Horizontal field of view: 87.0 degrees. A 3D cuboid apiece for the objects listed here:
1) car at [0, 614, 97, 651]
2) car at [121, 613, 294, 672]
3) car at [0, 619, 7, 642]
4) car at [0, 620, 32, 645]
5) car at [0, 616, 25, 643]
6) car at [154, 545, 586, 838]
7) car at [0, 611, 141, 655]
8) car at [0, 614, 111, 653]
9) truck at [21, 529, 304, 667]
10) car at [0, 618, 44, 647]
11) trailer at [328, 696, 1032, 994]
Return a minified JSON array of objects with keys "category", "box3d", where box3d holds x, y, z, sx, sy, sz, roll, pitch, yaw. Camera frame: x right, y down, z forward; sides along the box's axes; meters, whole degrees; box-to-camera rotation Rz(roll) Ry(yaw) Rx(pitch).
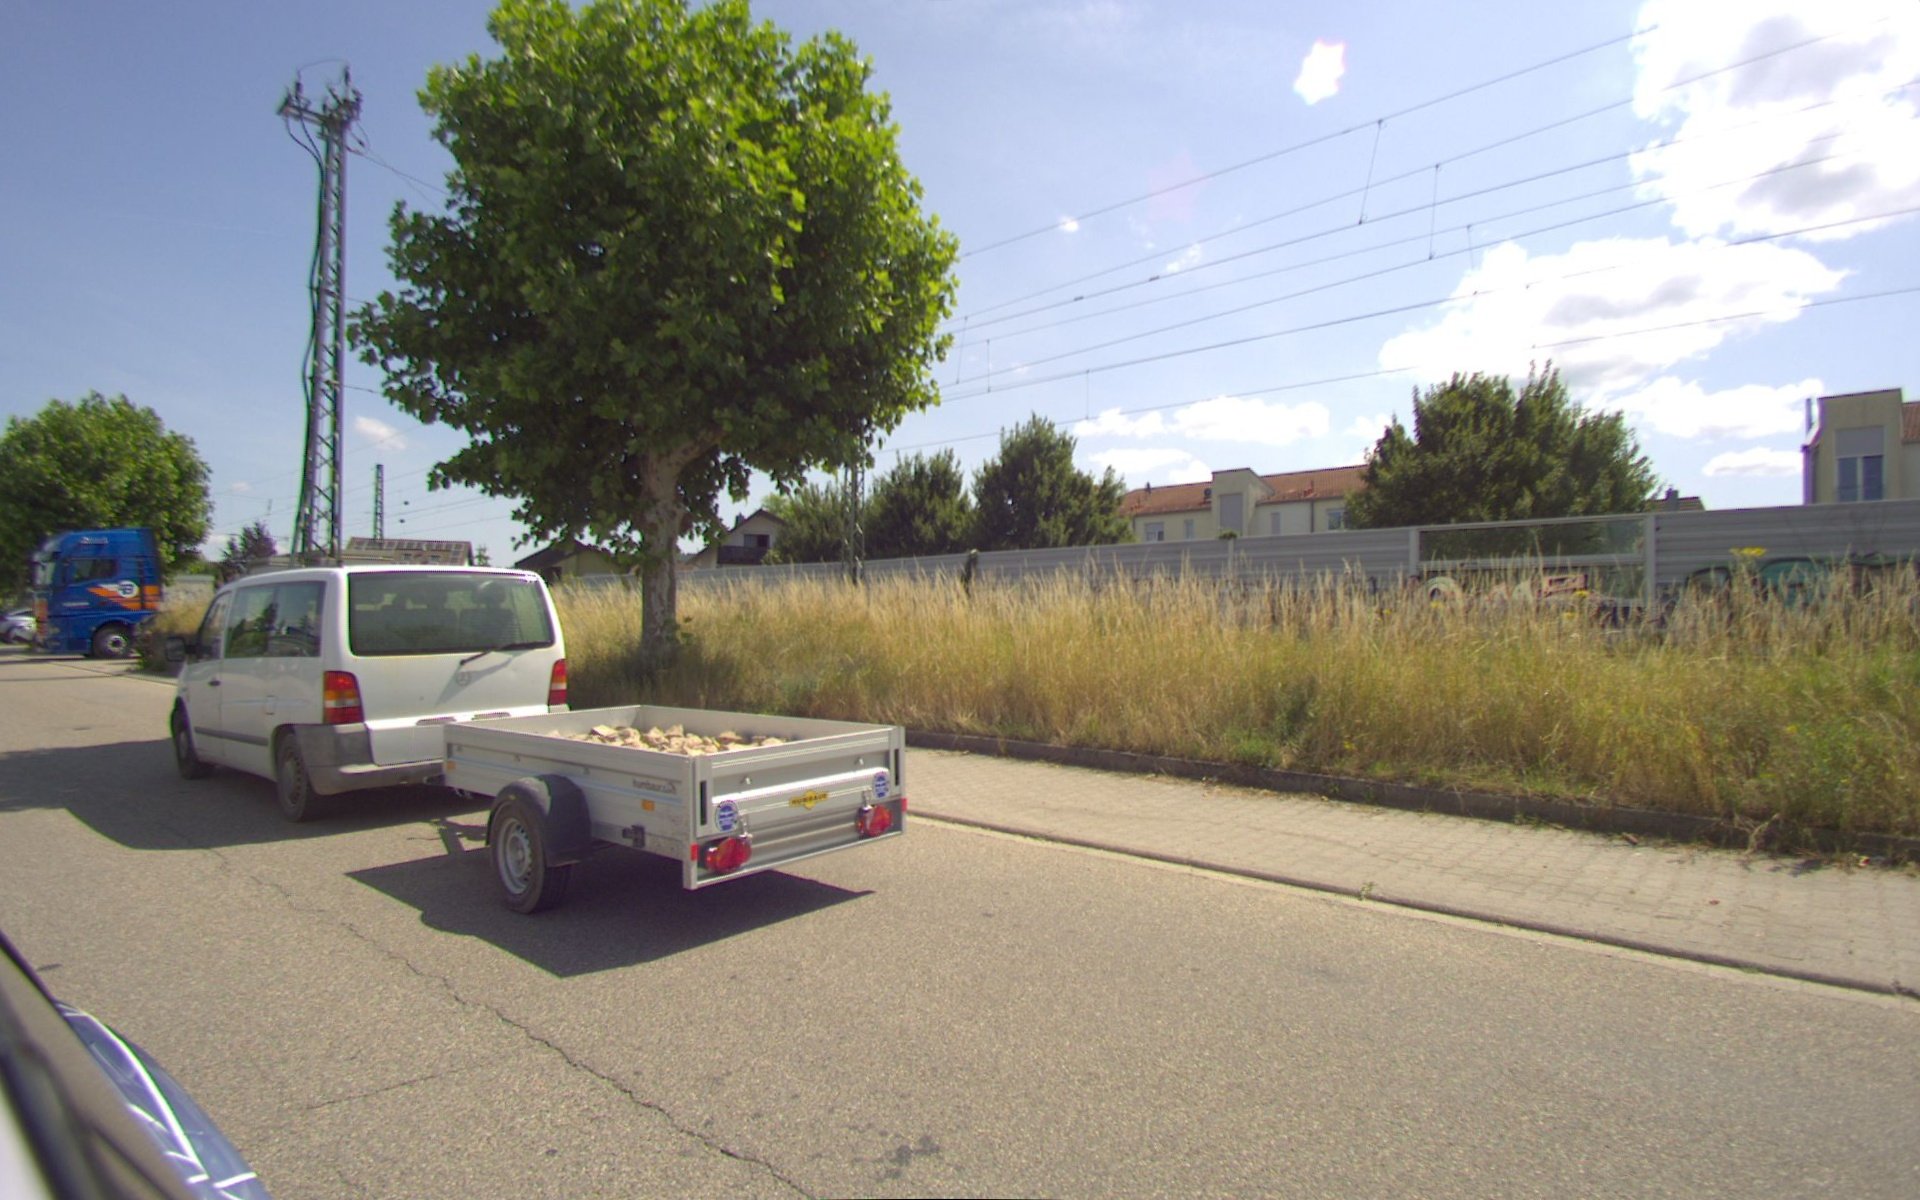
[{"category":"car","box3d":[-40.927,1.410,44.500,1.924,1.544,4.295,-2,-2,39]},{"category":"car","box3d":[-21.485,1.212,29.014,1.697,1.511,3.610,2,-1,36]},{"category":"car","box3d":[-60.395,1.844,61.036,1.784,1.412,4.035,-1,-1,37]},{"category":"car","box3d":[-53.876,1.800,55.625,1.672,1.379,4.032,-3,-2,40]},{"category":"car","box3d":[-51.777,1.579,53.226,1.681,1.459,3.631,-1,-1,38]},{"category":"car","box3d":[-5.197,0.630,8.645,4.481,1.872,1.819,-1,-2,41]},{"category":"car","box3d":[-34.722,1.289,39.515,1.847,1.630,3.934,-1,-2,36]},{"category":"car","box3d":[-38.790,1.393,42.896,1.997,1.559,3.949,-1,-1,38]},{"category":"truck","box3d":[-24.806,-0.010,31.799,2.660,3.852,6.552,-1,-1,37]},{"category":"car","box3d":[-49.435,1.652,51.638,1.787,1.461,3.901,-1,-2,44]},{"category":"trailer","box3d":[-1.816,1.075,5.712,4.220,0.857,1.799,-2,-4,41]}]
